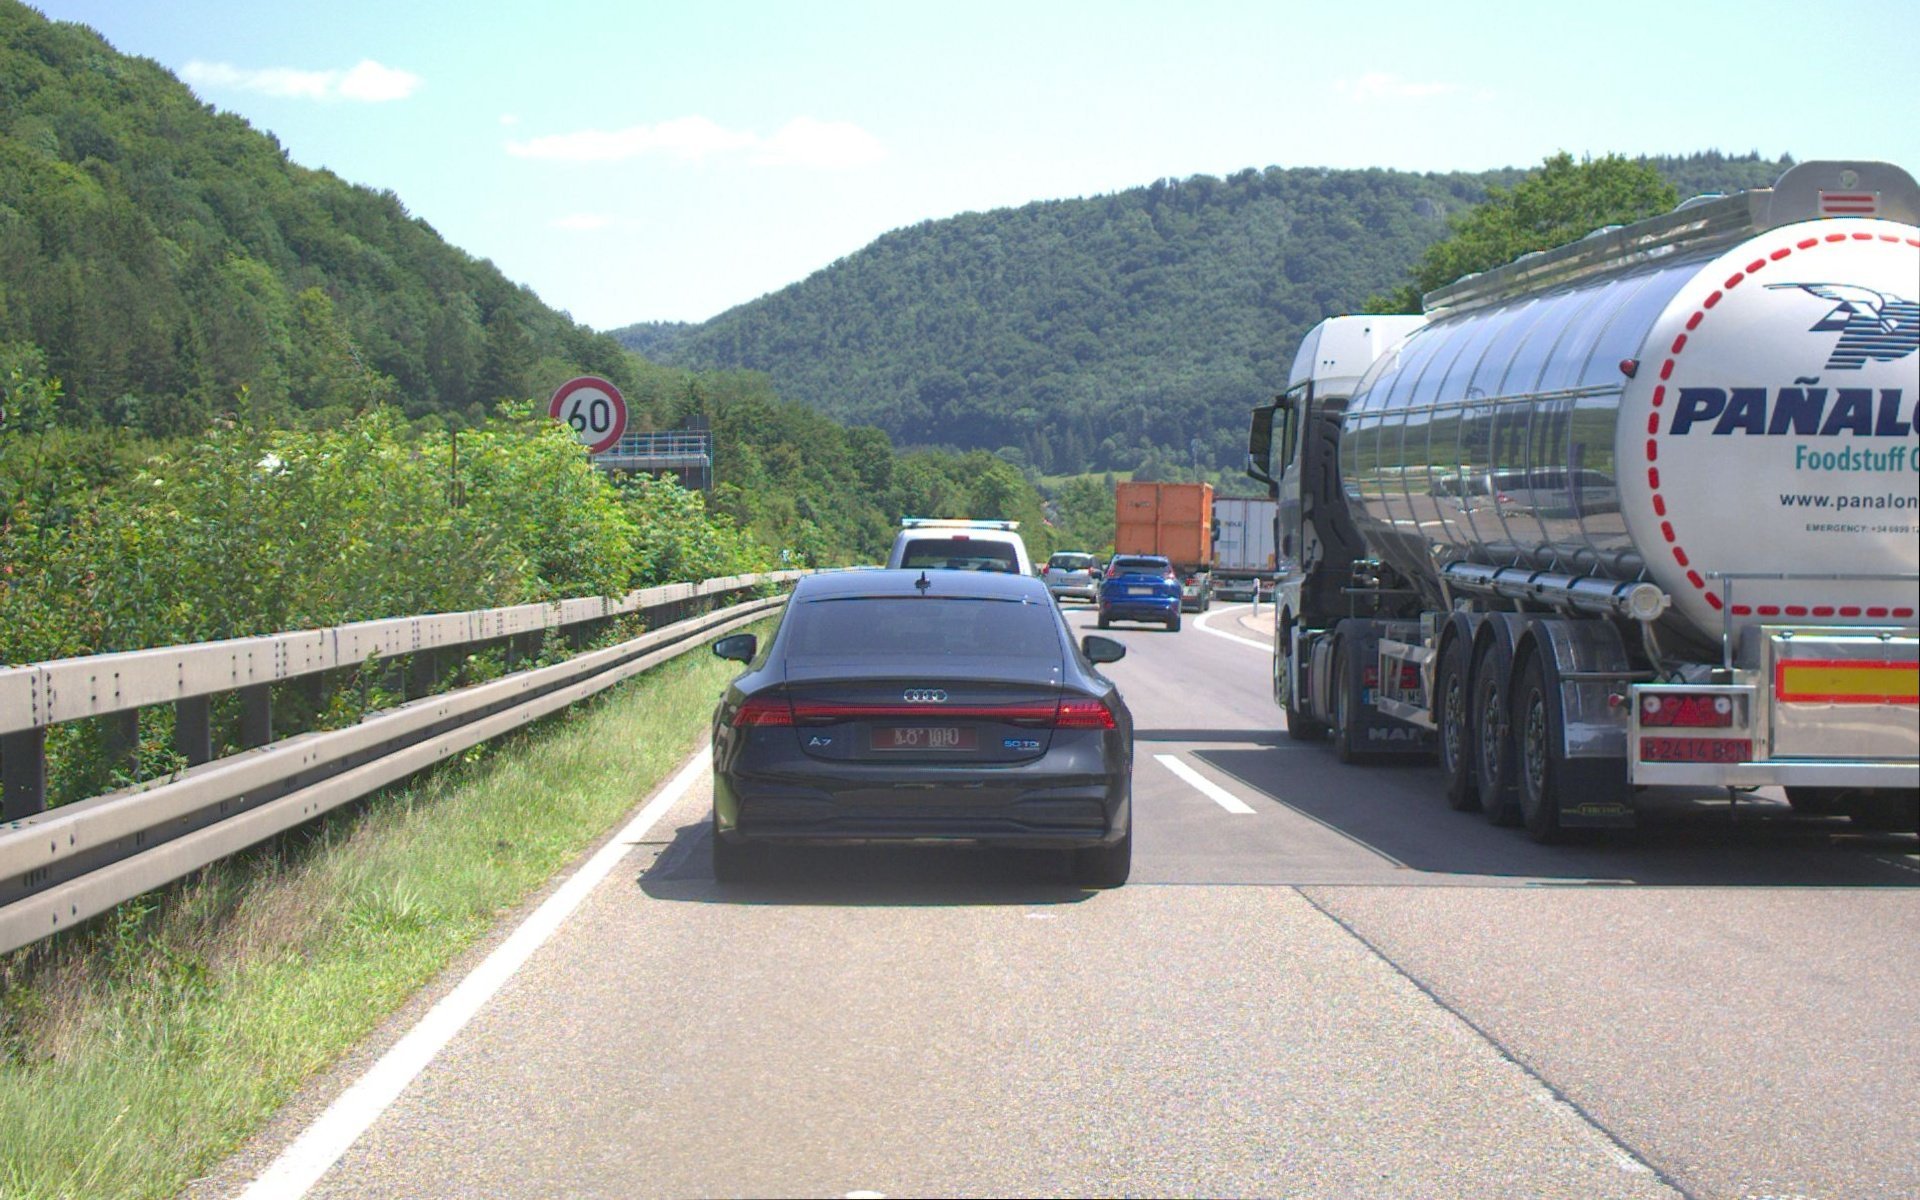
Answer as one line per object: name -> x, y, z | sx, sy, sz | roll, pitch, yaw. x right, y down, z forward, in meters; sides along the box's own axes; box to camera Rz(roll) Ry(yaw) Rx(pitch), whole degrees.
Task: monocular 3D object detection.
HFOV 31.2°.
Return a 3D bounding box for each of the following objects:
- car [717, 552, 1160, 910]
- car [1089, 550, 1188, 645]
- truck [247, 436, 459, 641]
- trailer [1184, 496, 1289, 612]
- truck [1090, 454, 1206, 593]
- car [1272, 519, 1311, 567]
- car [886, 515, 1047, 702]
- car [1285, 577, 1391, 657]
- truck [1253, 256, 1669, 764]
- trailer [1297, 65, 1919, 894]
car -> -0.230, 0.517, 16.415 | 1.849, 1.483, 4.083 | 0, 1, -4
car -> 3.914, -0.077, 75.917 | 1.993, 1.996, 4.000 | -1, 1, 1
truck -> -12.392, -1.245, 71.220 | 2.425, 3.886, 12.283 | 0, 1, -1
trailer -> 10.776, -1.814, 134.889 | 3.015, 4.367, 10.986 | 0, 1, -1
truck -> 5.682, -2.294, 106.477 | 2.817, 3.989, 14.955 | 0, 1, 0
car -> 20.754, -3.557, 215.286 | 1.993, 2.925, 4.898 | 0, 1, 1
car -> 0.042, 0.057, 35.853 | 1.576, 1.827, 4.000 | 0, 1, -1
car -> 7.580, 0.317, 69.250 | 1.747, 1.525, 4.000 | -1, 1, 1
truck -> 3.932, -0.699, 28.051 | 2.511, 3.746, 5.246 | 0, 1, -1
trailer -> 4.078, -0.622, 21.415 | 2.538, 3.723, 11.892 | 0, 1, -1
